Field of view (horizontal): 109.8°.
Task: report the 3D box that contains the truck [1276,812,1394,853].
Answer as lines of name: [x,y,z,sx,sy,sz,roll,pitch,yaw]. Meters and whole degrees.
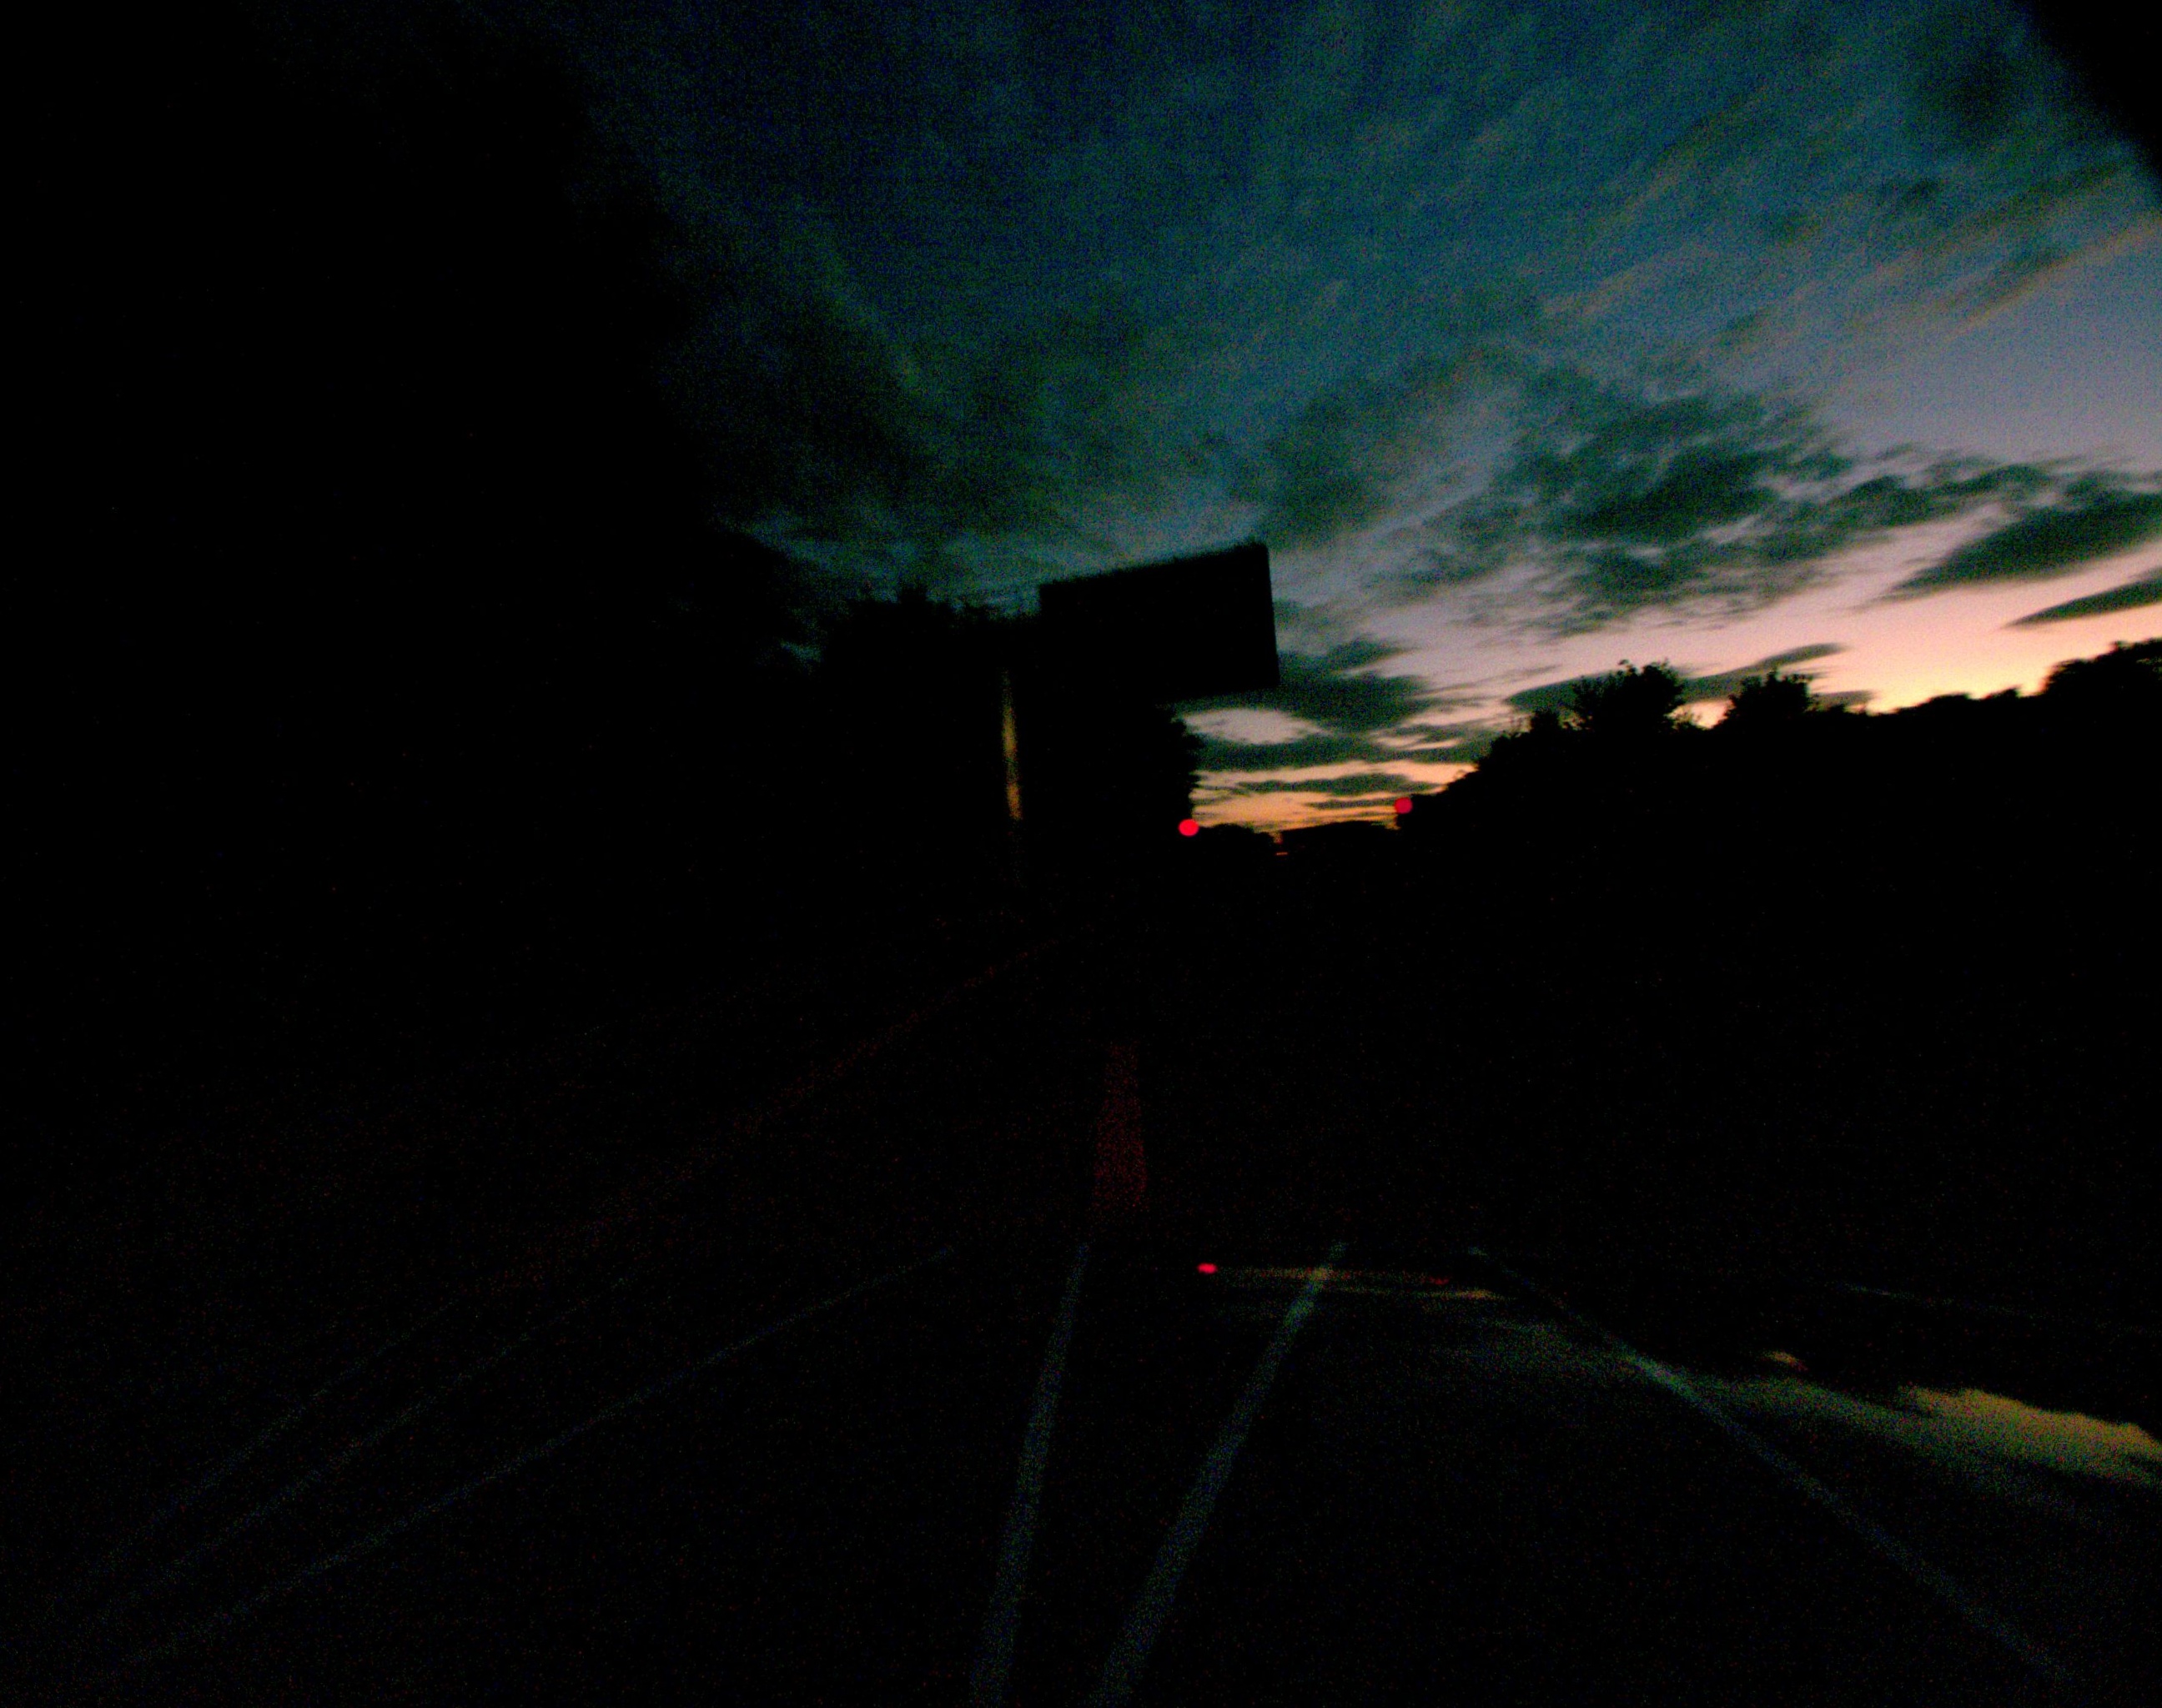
truck: [35.383,-2.845,107.057,2.527,4.642,16.976,-5,1,-38]
